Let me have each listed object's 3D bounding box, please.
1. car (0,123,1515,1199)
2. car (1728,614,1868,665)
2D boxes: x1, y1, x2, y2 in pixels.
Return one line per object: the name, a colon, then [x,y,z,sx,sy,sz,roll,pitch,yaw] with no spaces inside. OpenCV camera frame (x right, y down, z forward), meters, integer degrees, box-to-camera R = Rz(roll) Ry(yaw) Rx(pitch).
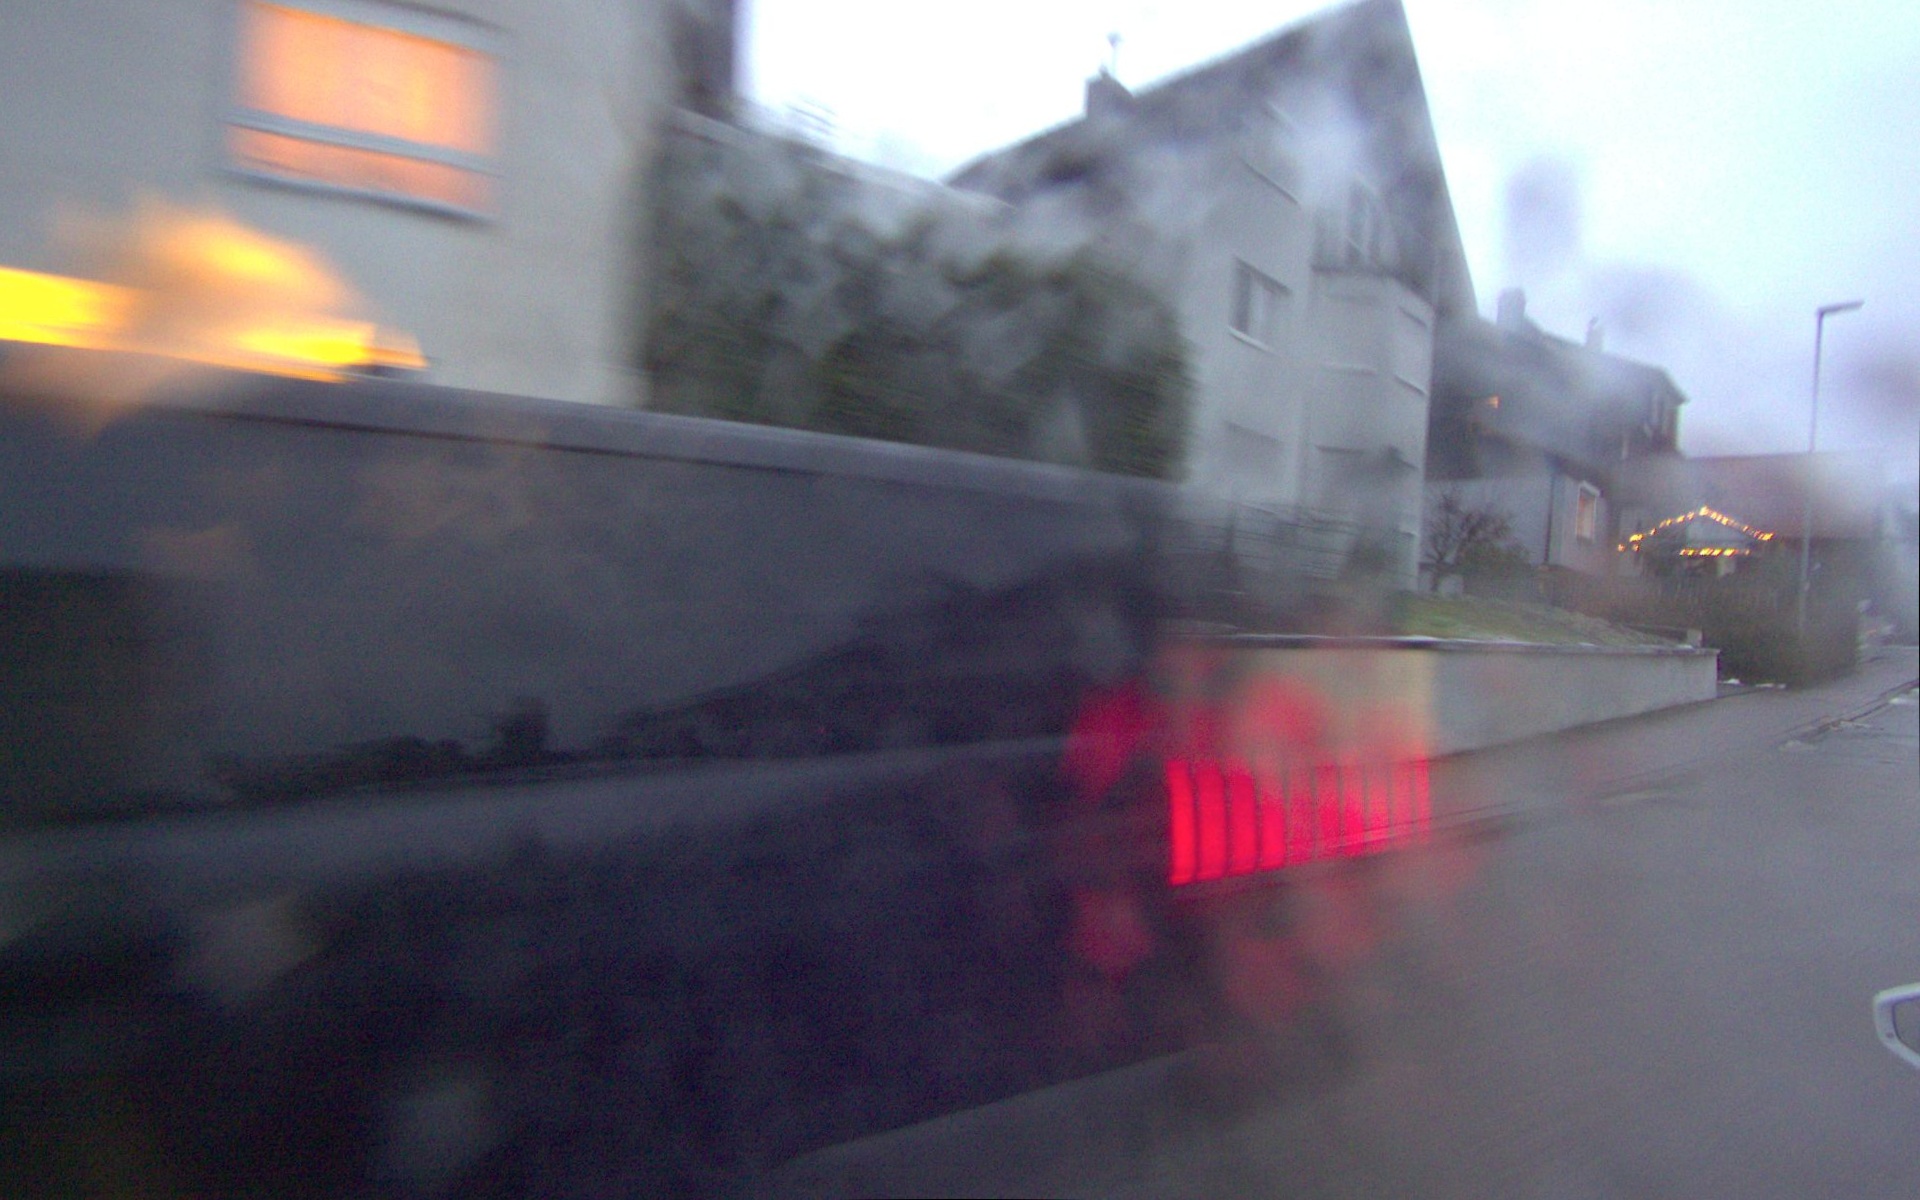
car: [-1.262,0.510,2.215,4.923,2.054,2.101,2,-1,-30]
car: [29.260,1.334,35.151,1.758,1.548,3.437,1,1,-38]
